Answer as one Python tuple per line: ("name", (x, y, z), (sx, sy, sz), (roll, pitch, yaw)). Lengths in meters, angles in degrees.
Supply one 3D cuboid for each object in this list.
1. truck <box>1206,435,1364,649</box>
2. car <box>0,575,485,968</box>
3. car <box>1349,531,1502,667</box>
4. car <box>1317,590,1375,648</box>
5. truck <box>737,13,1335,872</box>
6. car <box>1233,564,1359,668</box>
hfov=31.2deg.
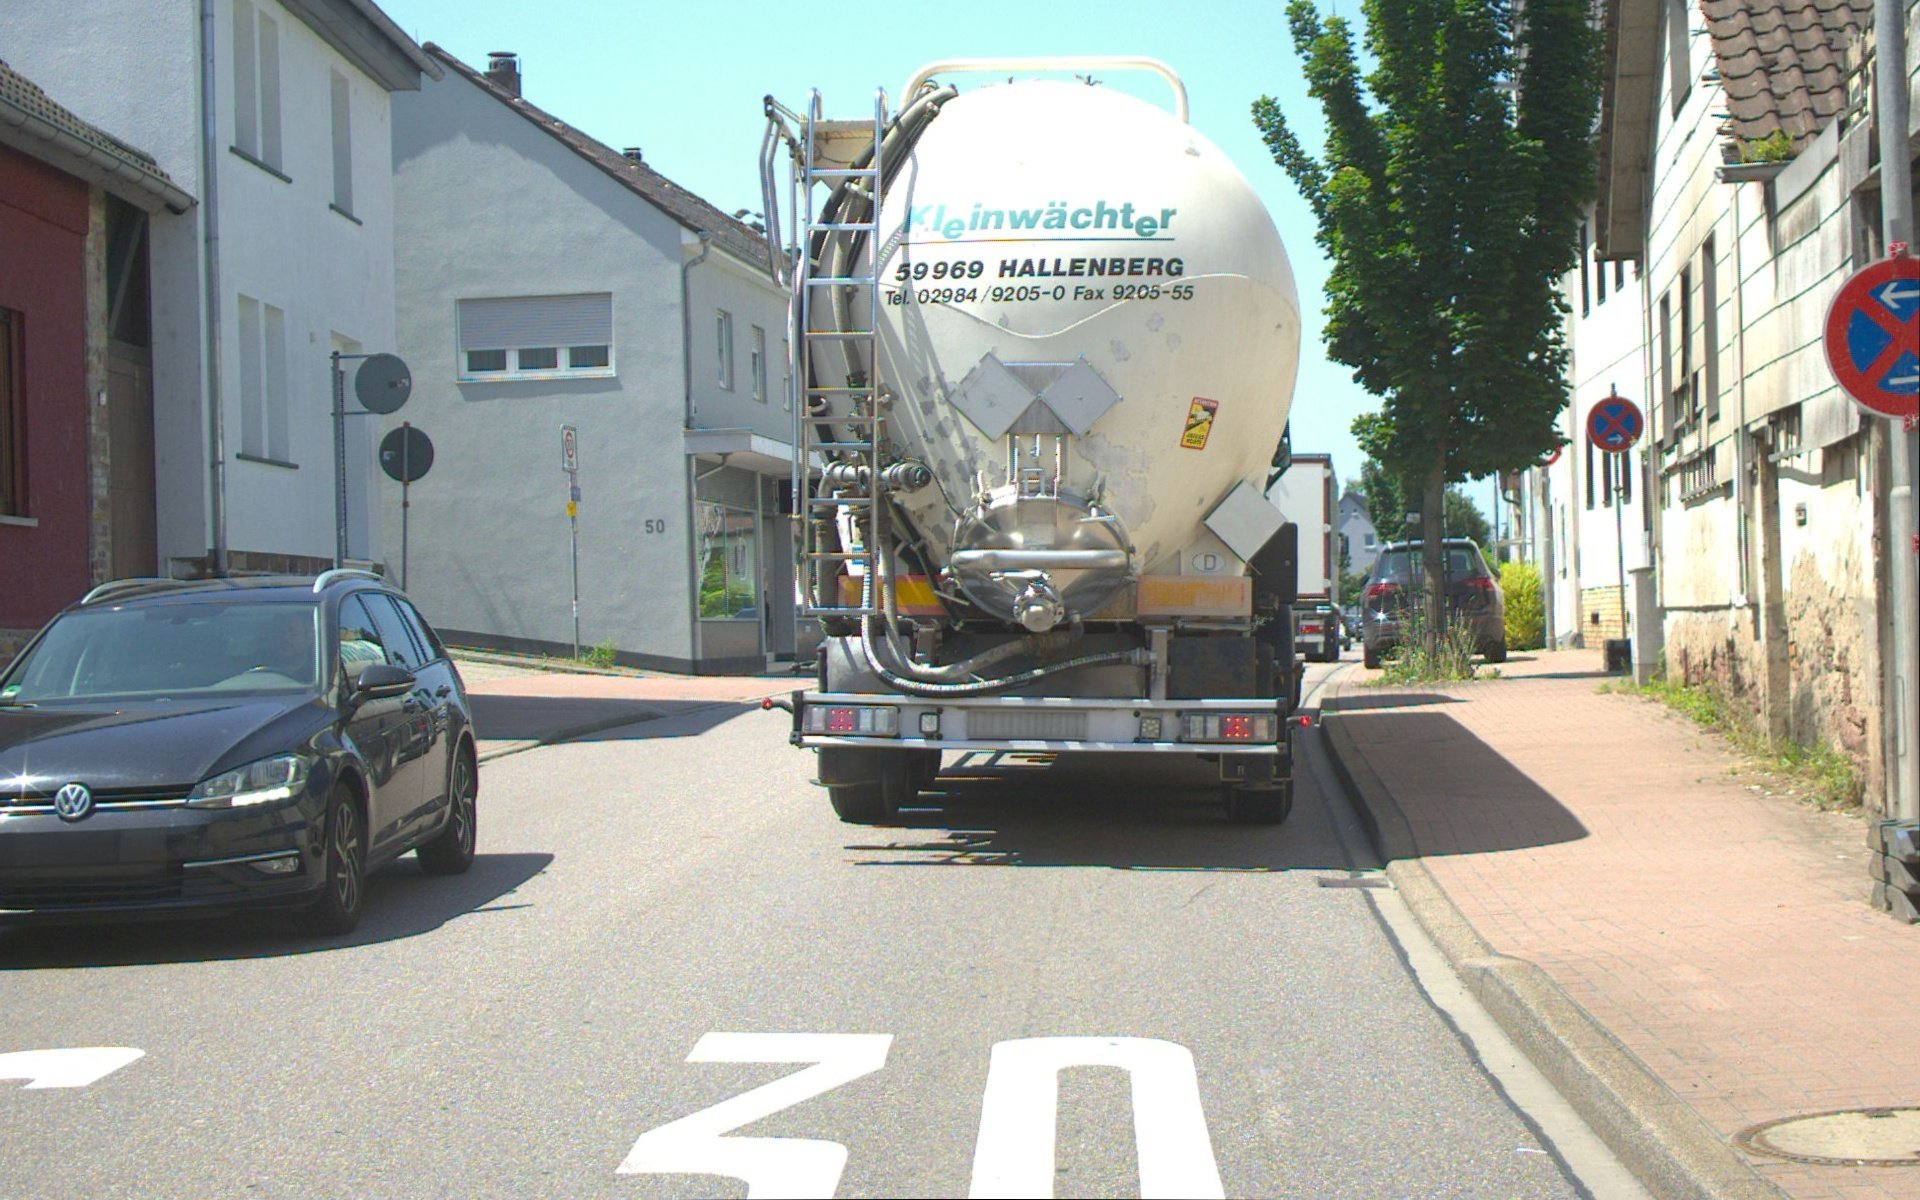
("truck", (6.693, -1.216, 70.551), (2.964, 4.055, 9.281), (-1, 1, 6))
("car", (-3.284, 0.639, 15.023), (1.694, 1.405, 4.200), (-2, 1, 1))
("car", (6.147, -0.026, 45.445), (1.803, 1.608, 4.547), (-4, 0, 8))
("car", (13.795, 0.684, 123.062), (1.946, 1.964, 4.783), (-2, -1, 6))
("truck", (0.647, -0.790, 19.969), (2.733, 3.946, 8.140), (1, 1, 4))
("car", (5.328, 0.255, 54.059), (1.701, 1.442, 4.835), (-4, -1, 8))
